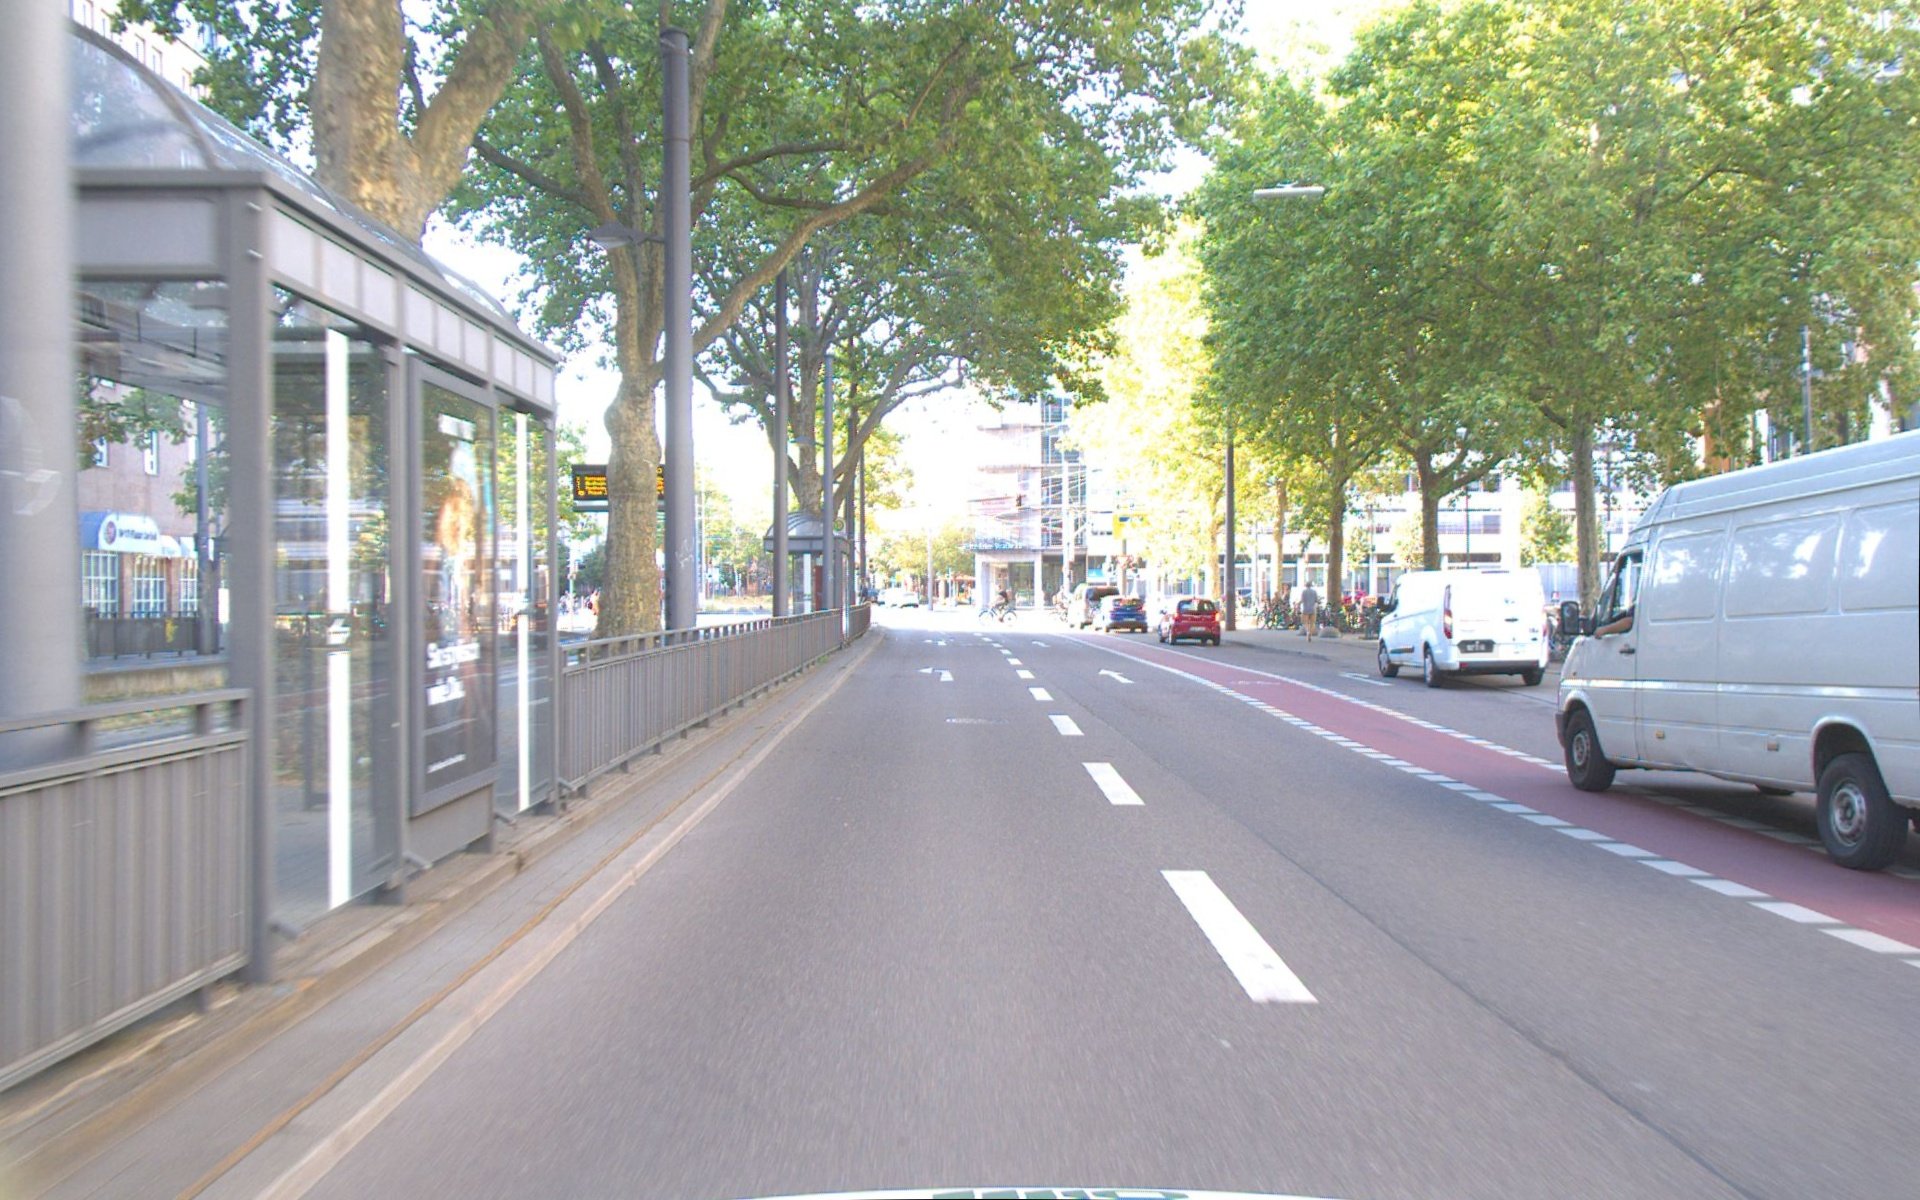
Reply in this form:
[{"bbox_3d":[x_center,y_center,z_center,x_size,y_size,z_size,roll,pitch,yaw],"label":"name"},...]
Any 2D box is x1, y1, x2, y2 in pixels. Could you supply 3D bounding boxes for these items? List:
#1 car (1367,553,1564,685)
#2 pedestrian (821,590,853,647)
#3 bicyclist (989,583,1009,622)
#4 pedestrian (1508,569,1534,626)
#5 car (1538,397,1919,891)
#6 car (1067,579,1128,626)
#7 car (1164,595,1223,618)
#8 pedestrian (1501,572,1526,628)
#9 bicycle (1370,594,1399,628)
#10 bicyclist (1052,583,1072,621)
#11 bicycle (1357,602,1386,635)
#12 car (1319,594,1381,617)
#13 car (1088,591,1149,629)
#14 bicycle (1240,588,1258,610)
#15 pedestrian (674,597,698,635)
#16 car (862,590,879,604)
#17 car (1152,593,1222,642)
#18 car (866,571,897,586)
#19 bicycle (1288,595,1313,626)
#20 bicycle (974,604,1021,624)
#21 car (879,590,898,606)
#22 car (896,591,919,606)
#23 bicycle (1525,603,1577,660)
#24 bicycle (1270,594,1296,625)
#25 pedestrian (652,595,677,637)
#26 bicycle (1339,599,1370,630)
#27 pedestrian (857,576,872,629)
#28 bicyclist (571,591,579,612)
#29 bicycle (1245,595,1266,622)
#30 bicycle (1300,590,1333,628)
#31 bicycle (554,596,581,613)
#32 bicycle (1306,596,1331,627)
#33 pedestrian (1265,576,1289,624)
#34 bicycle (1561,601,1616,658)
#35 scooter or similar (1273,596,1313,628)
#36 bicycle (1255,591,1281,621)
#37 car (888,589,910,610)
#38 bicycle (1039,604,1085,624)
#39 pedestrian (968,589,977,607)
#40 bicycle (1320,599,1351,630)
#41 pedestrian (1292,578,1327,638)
[{"bbox_3d":[9.090,0.297,30.255,2.079,2.171,5.290,-1,0,1],"label":"car"},{"bbox_3d":[-3.087,0.471,41.572,0.719,1.412,0.640,1,-1,1],"label":"pedestrian"},{"bbox_3d":[1.843,0.120,78.192,0.833,1.816,0.752,-1,0,-5],"label":"bicyclist"},{"bbox_3d":[19.281,-0.086,56.833,0.623,1.921,0.720,0,0,-1],"label":"pedestrian"},{"bbox_3d":[6.282,0.249,11.546,1.953,2.772,6.559,1,0,-2],"label":"car"},{"bbox_3d":[6.132,0.098,74.234,1.954,2.000,5.134,1,0,-4],"label":"car"},{"bbox_3d":[17.080,0.466,120.963,4.151,1.630,1.796,-1,0,4],"label":"car"},{"bbox_3d":[19.275,-0.002,57.615,0.623,1.921,0.720,0,0,-1],"label":"pedestrian"},{"bbox_3d":[14.875,0.387,57.992,0.492,1.157,1.653,-1,0,-4],"label":"bicycle"},{"bbox_3d":[4.909,0.079,79.724,0.833,1.798,0.752,-1,0,-5],"label":"bicyclist"},{"bbox_3d":[12.793,0.555,51.494,0.441,0.997,1.762,-1,0,-1],"label":"bicycle"},{"bbox_3d":[28.298,0.386,120.123,4.152,1.587,1.796,-1,0,2],"label":"car"},{"bbox_3d":[6.435,0.401,67.630,1.730,1.489,4.213,-1,0,-5],"label":"car"},{"bbox_3d":[13.911,-0.051,79.609,0.441,1.000,1.475,-1,0,-5],"label":"bicycle"},{"bbox_3d":[-12.625,0.754,76.227,1.053,1.745,0.627,1,-1,-8],"label":"pedestrian"},{"bbox_3d":[-10.736,-0.377,198.272,1.954,1.691,3.997,-1,0,-4],"label":"car"},{"bbox_3d":[7.267,0.539,53.161,1.528,1.490,3.618,0,0,-4],"label":"car"},{"bbox_3d":[-10.158,-2.769,213.279,3.681,1.780,1.783,1,-1,11],"label":"car"},{"bbox_3d":[12.900,0.406,62.624,0.583,1.135,1.825,-1,0,23],"label":"bicycle"},{"bbox_3d":[1.759,0.656,78.172,2.135,0.950,0.667,0,0,-6],"label":"bicycle"},{"bbox_3d":[-7.677,-0.238,176.871,1.954,1.691,3.997,-1,0,-4],"label":"car"},{"bbox_3d":[-4.945,-0.129,154.634,1.954,1.355,3.997,-1,0,-4],"label":"car"},{"bbox_3d":[12.620,0.649,35.373,0.648,1.157,2.403,0,0,10],"label":"bicycle"},{"bbox_3d":[12.289,0.348,62.874,0.583,1.135,1.948,-1,0,23],"label":"bicycle"},{"bbox_3d":[-13.099,0.713,73.381,1.052,1.837,0.756,1,-1,-11],"label":"pedestrian"},{"bbox_3d":[13.796,0.494,57.860,0.584,1.050,1.653,-1,0,-4],"label":"bicycle"},{"bbox_3d":[-3.521,0.107,60.914,0.499,1.933,0.759,1,-1,-3],"label":"pedestrian"},{"bbox_3d":[-31.551,0.095,135.682,0.582,1.705,0.788,-1,0,-10],"label":"bicyclist"},{"bbox_3d":[12.078,0.359,67.624,0.614,1.075,1.572,-1,0,2],"label":"bicycle"},{"bbox_3d":[12.433,0.309,57.719,0.584,1.286,1.875,-1,0,-4],"label":"bicycle"},{"bbox_3d":[-30.689,0.341,129.422,2.077,1.261,0.447,-1,0,-40],"label":"bicycle"},{"bbox_3d":[13.532,0.442,62.393,0.594,1.135,1.825,-1,0,23],"label":"bicycle"},{"bbox_3d":[12.117,-0.014,63.198,0.789,1.817,0.657,-1,0,22],"label":"pedestrian"},{"bbox_3d":[13.403,0.615,35.340,0.648,1.157,2.403,0,0,10],"label":"bicycle"},{"bbox_3d":[13.010,0.476,64.592,1.233,1.162,0.912,3,-2,-18],"label":"scooter or similar"},{"bbox_3d":[11.845,0.219,63.625,0.583,1.135,1.825,-1,0,23],"label":"bicycle"},{"bbox_3d":[-5.965,-0.030,161.403,1.954,2.026,3.997,-1,0,-4],"label":"car"},{"bbox_3d":[4.908,0.657,79.713,2.135,0.950,0.667,0,0,-6],"label":"bicycle"},{"bbox_3d":[1.067,-0.175,146.049,0.725,1.491,0.536,-1,0,-6],"label":"pedestrian"},{"bbox_3d":[13.113,0.486,57.793,0.584,1.050,1.653,-1,0,-4],"label":"bicycle"},{"bbox_3d":[10.598,0.237,50.137,0.854,1.817,0.808,-1,0,-3],"label":"pedestrian"}]
